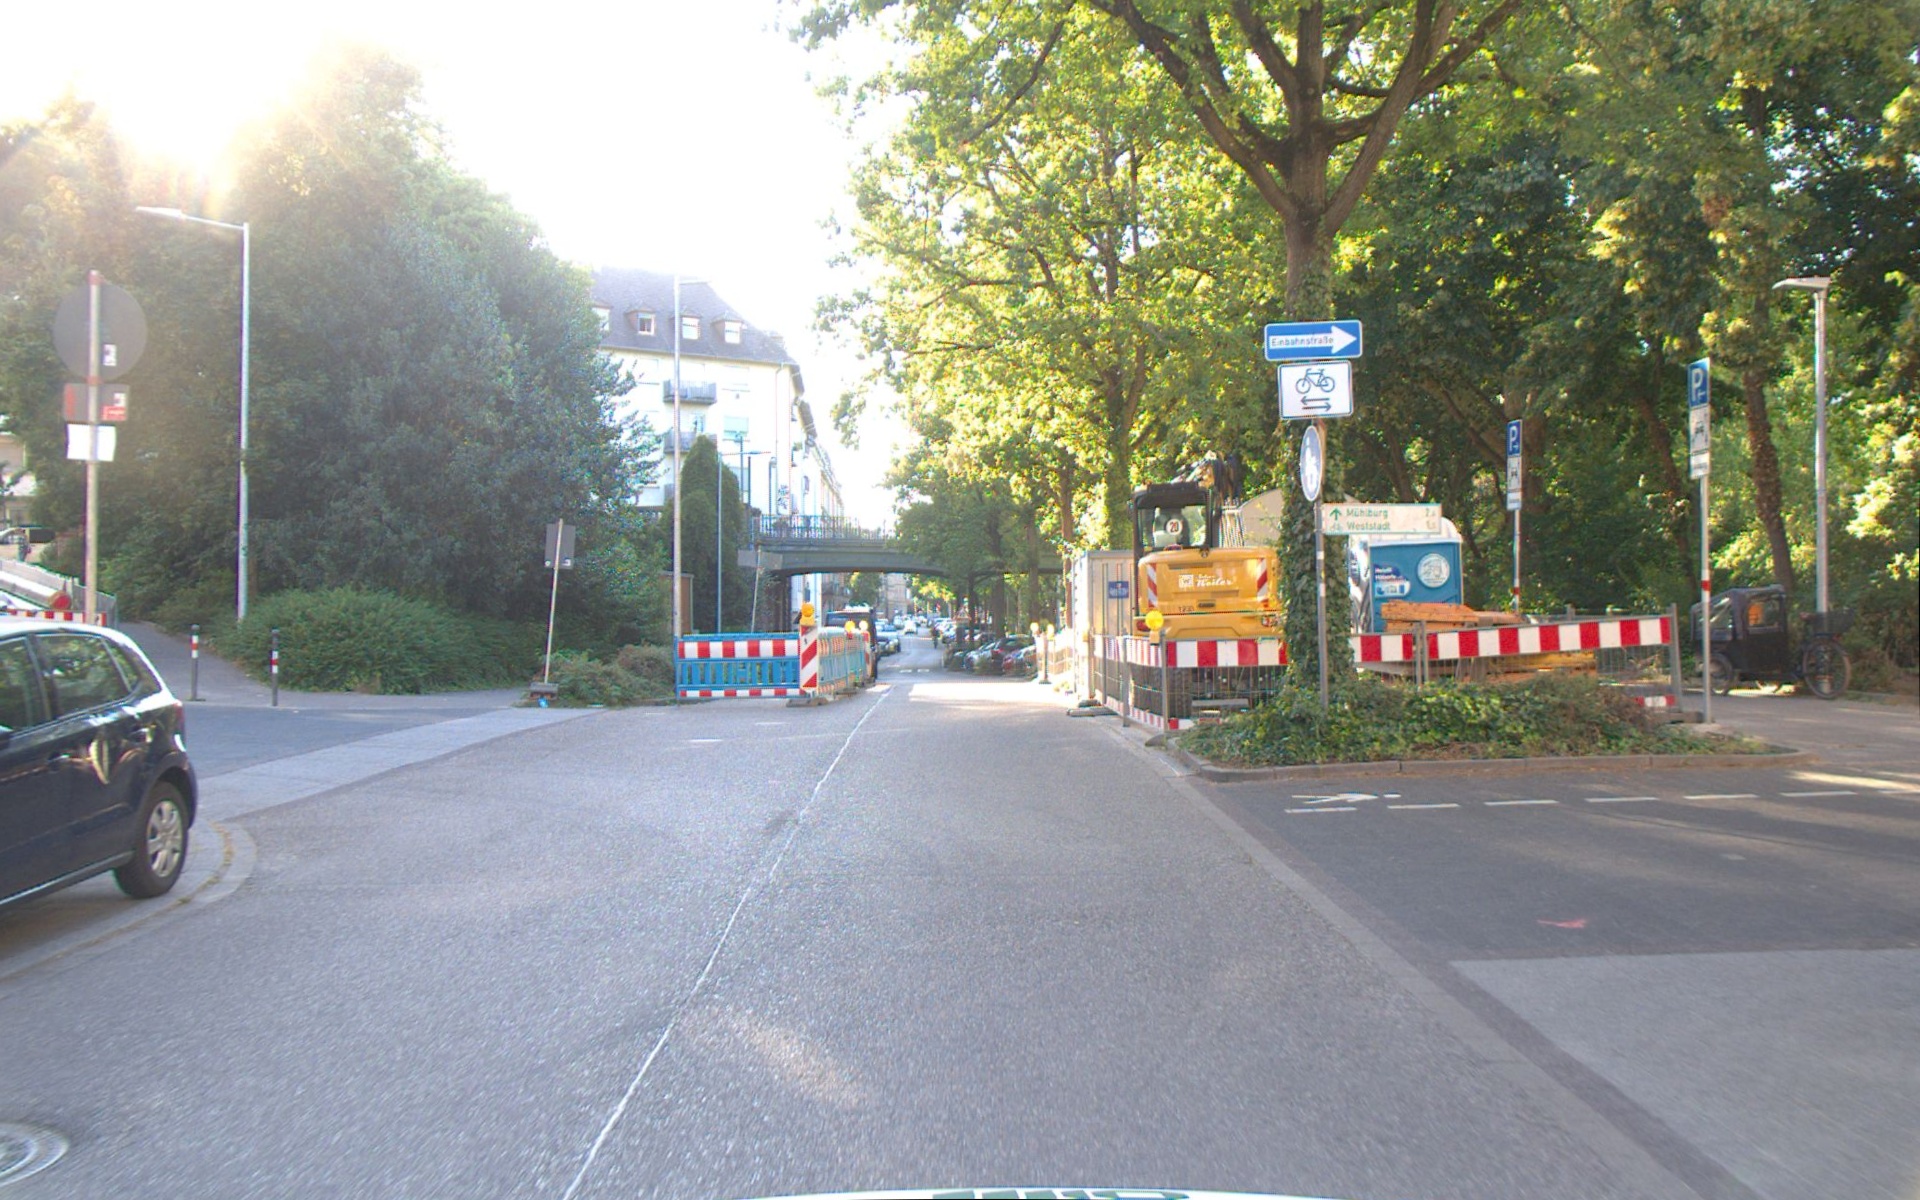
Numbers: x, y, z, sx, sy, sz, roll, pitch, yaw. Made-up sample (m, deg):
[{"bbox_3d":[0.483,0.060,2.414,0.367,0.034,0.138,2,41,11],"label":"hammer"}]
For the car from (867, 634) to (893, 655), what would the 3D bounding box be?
[{"bbox_3d":[-5.761,3.229,120.154,1.776,1.422,3.973,-2,-2,-2],"label":"car"}]

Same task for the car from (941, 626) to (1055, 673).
[{"bbox_3d":[1.458,1.960,64.780,4.300,1.732,1.915,1,-3,-4],"label":"car"}]

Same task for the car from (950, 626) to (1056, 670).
[{"bbox_3d":[1.778,2.038,69.781,4.300,1.732,1.915,1,-3,-4],"label":"car"}]

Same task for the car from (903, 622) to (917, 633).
[{"bbox_3d":[-6.780,3.729,224.224,1.776,1.422,3.973,-2,-2,-2],"label":"car"}]

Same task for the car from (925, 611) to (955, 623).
[{"bbox_3d":[-2.905,2.520,242.905,4.298,1.638,1.780,1,-3,-1],"label":"car"}]

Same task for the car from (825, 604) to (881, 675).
[{"bbox_3d":[-4.034,1.541,62.848,2.006,2.541,5.692,1,-2,-3],"label":"car"}]

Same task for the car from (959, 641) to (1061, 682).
[{"bbox_3d":[2.166,2.699,72.442,4.300,1.732,1.915,1,-3,-4],"label":"car"}]

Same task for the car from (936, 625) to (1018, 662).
[{"bbox_3d":[0.905,2.394,90.212,4.300,1.894,1.915,1,-3,-4],"label":"car"}]

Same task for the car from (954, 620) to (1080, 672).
[{"bbox_3d":[1.987,1.631,58.479,4.300,1.732,1.915,1,-3,-4],"label":"car"}]

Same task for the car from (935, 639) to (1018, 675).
[{"bbox_3d":[0.865,3.057,88.275,4.300,1.816,1.915,1,-3,-4],"label":"car"}]

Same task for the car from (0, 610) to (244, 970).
[{"bbox_3d":[-4.829,0.804,7.332,1.635,1.483,3.999,0,0,-1],"label":"car"}]

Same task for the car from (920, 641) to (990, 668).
[{"bbox_3d":[-0.325,3.453,104.376,4.300,1.638,1.779,1,-3,-4],"label":"car"}]

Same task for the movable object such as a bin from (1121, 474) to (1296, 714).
[{"bbox_3d":[3.173,-0.062,20.639,1.951,2.747,3.113,0,0,12],"label":"movable object such as a bin"}]

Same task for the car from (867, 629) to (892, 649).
[{"bbox_3d":[-6.071,2.954,124.991,1.776,1.422,3.973,-2,-2,-2],"label":"car"}]

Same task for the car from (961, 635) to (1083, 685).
[{"bbox_3d":[2.259,2.223,60.944,4.300,1.732,1.915,1,-3,-4],"label":"car"}]

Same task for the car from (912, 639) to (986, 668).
[{"bbox_3d":[-0.685,3.204,98.893,4.300,1.638,1.779,1,-3,-4],"label":"car"}]

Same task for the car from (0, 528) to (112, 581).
[{"bbox_3d":[-37.328,-1.847,67.908,4.310,2.049,1.921,0,0,-23],"label":"car"}]

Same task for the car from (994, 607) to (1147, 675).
[{"bbox_3d":[3.480,1.335,52.600,4.648,2.032,1.914,1,-3,-5],"label":"car"}]

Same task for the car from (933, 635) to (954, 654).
[{"bbox_3d":[-1.454,3.958,145.234,1.739,1.638,4.400,0,-2,-1],"label":"car"}]

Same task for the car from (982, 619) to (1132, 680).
[{"bbox_3d":[2.862,1.500,49.578,4.300,1.732,1.915,1,-3,-4],"label":"car"}]

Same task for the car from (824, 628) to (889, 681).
[{"bbox_3d":[-3.017,1.577,49.069,1.776,1.466,4.348,1,-1,-2],"label":"car"}]

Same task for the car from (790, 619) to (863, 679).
[{"bbox_3d":[-3.444,1.309,43.226,1.681,1.443,4.104,-2,-2,-2],"label":"car"}]

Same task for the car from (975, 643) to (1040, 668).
[{"bbox_3d":[3.203,3.786,112.221,4.298,1.638,1.780,1,-3,-1],"label":"car"}]

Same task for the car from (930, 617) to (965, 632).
[{"bbox_3d":[-1.518,3.023,204.358,4.298,1.638,1.780,1,-3,-1],"label":"car"}]

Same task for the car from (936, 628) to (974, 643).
[{"bbox_3d":[-0.603,4.079,191.956,4.298,1.638,1.780,1,-3,-1],"label":"car"}]

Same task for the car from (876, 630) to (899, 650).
[{"bbox_3d":[-5.678,3.162,129.817,1.776,1.422,3.973,-2,-2,-2],"label":"car"}]

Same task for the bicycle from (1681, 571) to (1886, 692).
[{"bbox_3d":[9.565,0.340,19.323,1.006,1.308,2.140,-2,1,-13],"label":"bicycle"}]

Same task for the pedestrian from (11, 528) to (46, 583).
[{"bbox_3d":[-31.085,-1.475,55.183,0.851,1.793,1.078,1,0,-38],"label":"pedestrian"}]
